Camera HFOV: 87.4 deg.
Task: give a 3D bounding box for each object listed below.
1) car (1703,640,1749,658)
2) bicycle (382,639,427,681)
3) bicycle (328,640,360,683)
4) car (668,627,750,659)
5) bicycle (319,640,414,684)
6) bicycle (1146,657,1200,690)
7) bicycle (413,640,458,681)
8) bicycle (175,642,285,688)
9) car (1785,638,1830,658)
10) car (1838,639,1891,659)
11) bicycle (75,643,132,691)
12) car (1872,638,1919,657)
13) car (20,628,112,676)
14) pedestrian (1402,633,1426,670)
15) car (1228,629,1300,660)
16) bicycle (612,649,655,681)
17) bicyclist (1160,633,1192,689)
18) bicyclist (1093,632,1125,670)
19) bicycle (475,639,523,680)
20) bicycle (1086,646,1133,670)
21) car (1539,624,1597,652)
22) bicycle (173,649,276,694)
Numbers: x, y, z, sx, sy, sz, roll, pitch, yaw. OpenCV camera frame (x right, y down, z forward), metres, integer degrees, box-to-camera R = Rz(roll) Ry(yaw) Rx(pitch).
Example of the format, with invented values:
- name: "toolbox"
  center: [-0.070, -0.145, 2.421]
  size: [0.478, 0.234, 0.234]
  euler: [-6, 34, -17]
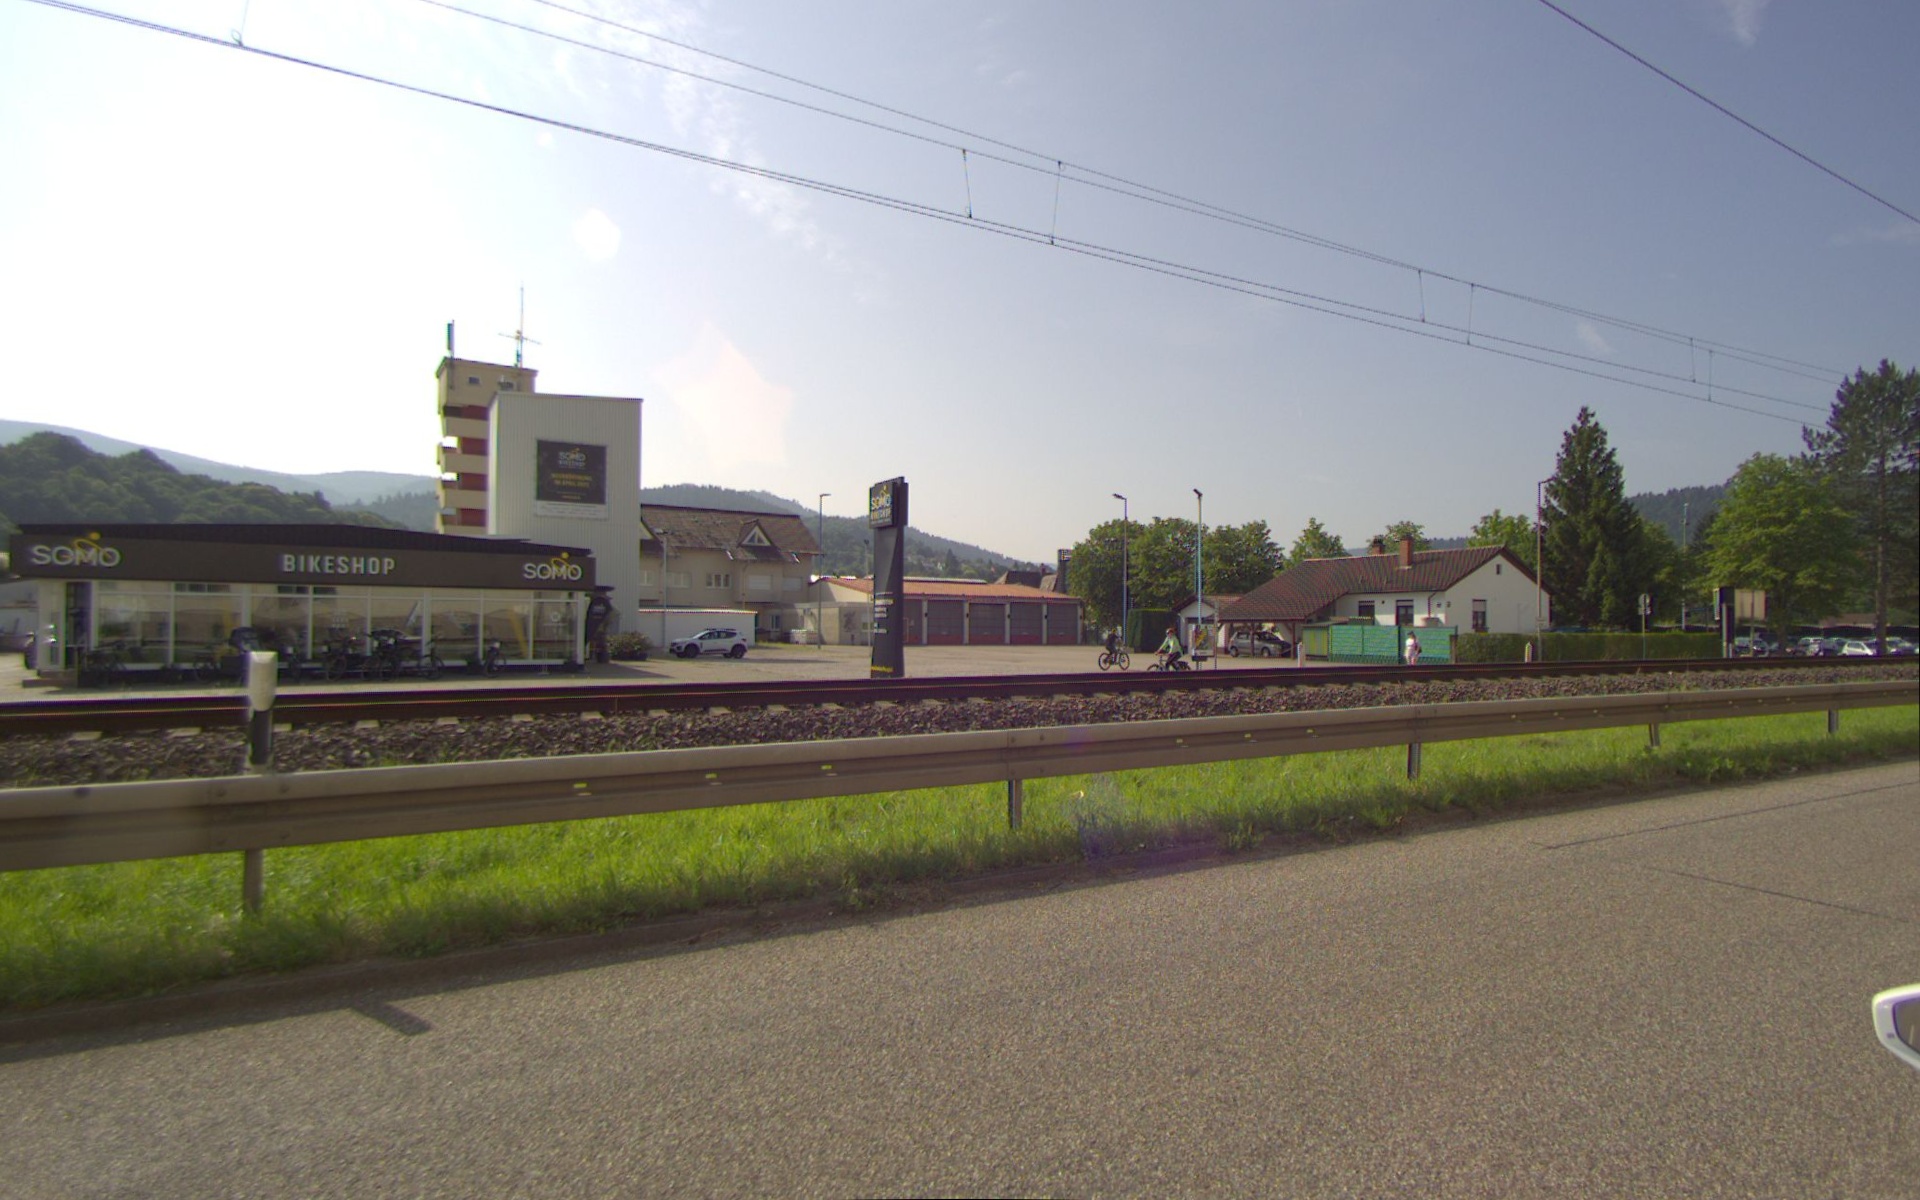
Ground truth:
- name: "car"
  center: [63.724, 4.081, 83.653]
  size: [1.654, 1.425, 3.855]
  euler: [0, -2, 14]
- name: "bicycle"
  center: [-16.076, 1.712, 29.049]
  size: [0.724, 1.145, 2.149]
  euler: [2, -2, -40]
- name: "bicycle"
  center: [-17.261, 1.694, 28.186]
  size: [0.722, 1.145, 2.156]
  euler: [1, -2, -31]
- name: "car"
  center: [-13.361, 2.256, 53.433]
  size: [3.932, 1.619, 1.703]
  euler: [1, -2, -29]
- name: "bicycle"
  center: [-16.009, 1.662, 27.126]
  size: [2.151, 1.145, 0.723]
  euler: [1, -2, -33]
- name: "bicycle"
  center: [6.434, 2.205, 30.323]
  size: [1.692, 0.935, 0.542]
  euler: [1, -2, -33]
- name: "bicycle"
  center: [-15.472, 1.753, 29.606]
  size: [0.724, 1.145, 2.149]
  euler: [2, -2, -40]
- name: "bicycle"
  center: [-18.514, 1.640, 25.492]
  size: [2.276, 1.145, 0.730]
  euler: [0, -2, 3]
- name: "car"
  center: [72.226, 4.073, 85.663]
  size: [1.655, 1.664, 3.853]
  euler: [-1, -2, 19]
- name: "car"
  center: [69.743, 3.748, 77.524]
  size: [1.655, 1.462, 3.853]
  euler: [-1, -2, 19]
- name: "bicycle"
  center: [-21.555, 1.657, 25.302]
  size: [0.722, 1.145, 2.156]
  euler: [1, -2, -31]
- name: "car"
  center: [78.971, 3.994, 84.716]
  size: [1.655, 1.526, 3.853]
  euler: [-1, -2, 19]
- name: "car"
  center: [-32.656, 1.854, 36.800]
  size: [1.728, 1.622, 3.968]
  euler: [0, -2, -31]
- name: "pedestrian"
  center: [17.127, 1.934, 37.927]
  size: [0.668, 1.349, 0.569]
  euler: [1, -2, -36]
- name: "car"
  center: [17.075, 2.482, 56.652]
  size: [1.691, 1.673, 3.821]
  euler: [1, -2, -28]
- name: "bicycle"
  center: [-15.372, 3.009, 47.158]
  size: [0.980, 1.305, 3.412]
  euler: [2, -1, -34]
- name: "bicyclist"
  center: [6.536, 1.837, 30.395]
  size: [0.823, 1.668, 0.529]
  euler: [1, -2, -33]
- name: "bicyclist"
  center: [6.449, 2.196, 43.549]
  size: [1.131, 1.641, 0.743]
  euler: [1, -2, -28]
- name: "bicycle"
  center: [-13.569, 1.727, 29.539]
  size: [0.724, 1.145, 2.149]
  euler: [2, -2, -40]
- name: "bicycle"
  center: [6.476, 2.505, 43.554]
  size: [1.938, 1.030, 0.752]
  euler: [1, -2, -28]
- name: "car"
  center: [31.320, 1.953, 51.742]
  size: [2.863, 1.370, 1.383]
  euler: [1, -2, -32]
- name: "bicycle"
  center: [-19.738, 1.896, 27.016]
  size: [2.148, 1.145, 0.724]
  euler: [1, -2, -30]
